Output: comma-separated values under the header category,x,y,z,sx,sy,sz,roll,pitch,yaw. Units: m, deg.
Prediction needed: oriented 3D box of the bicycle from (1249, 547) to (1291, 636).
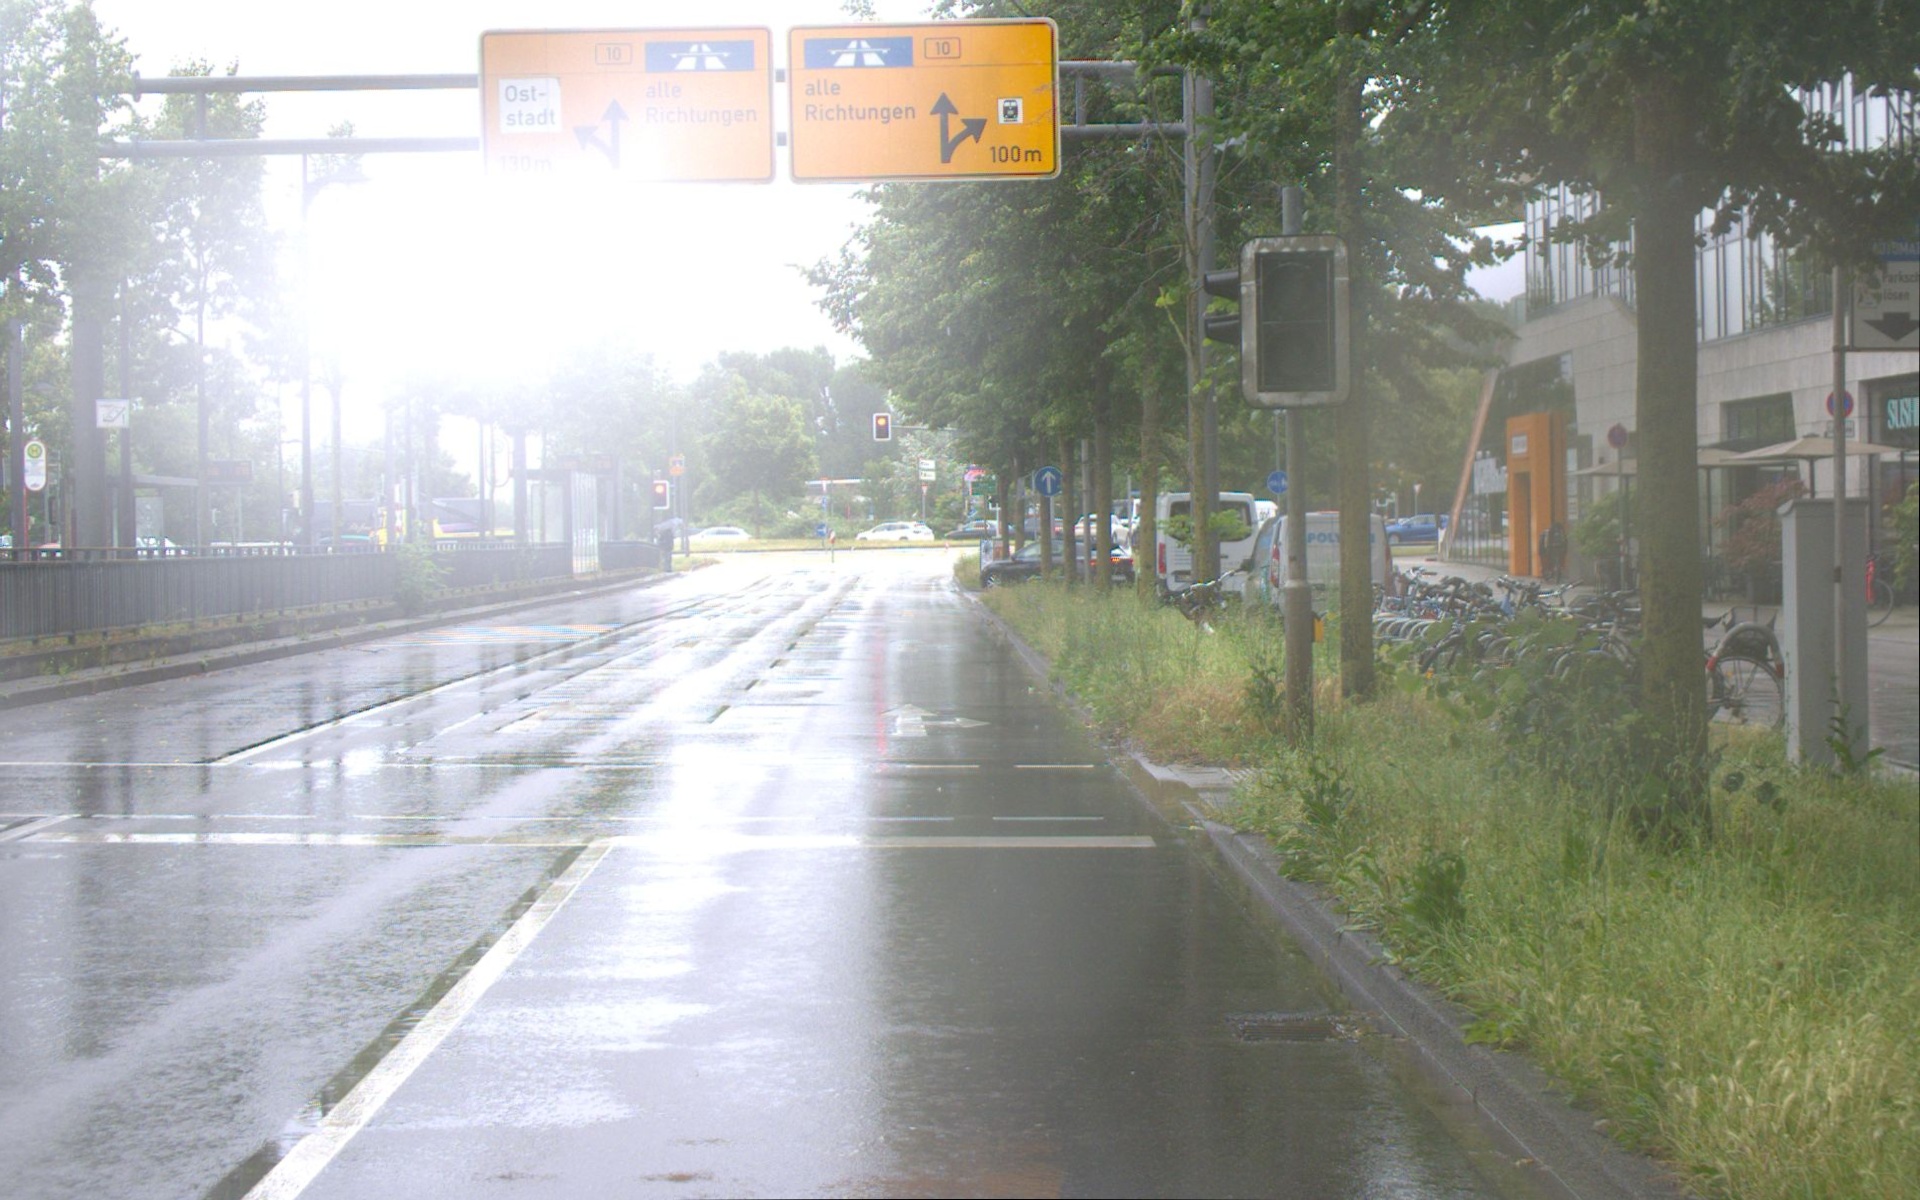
category,x,y,z,sx,sy,sz,roll,pitch,yaw
bicycle,3.045,-0.089,33.789,0.274,0.846,1.293,-1,1,-1

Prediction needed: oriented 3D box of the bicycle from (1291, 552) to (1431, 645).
category,x,y,z,sx,sy,sz,roll,pitch,yaw
bicycle,4.336,-0.023,37.219,1.460,0.976,0.311,-1,1,-1

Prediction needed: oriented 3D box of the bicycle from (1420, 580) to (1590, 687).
category,x,y,z,sx,sy,sz,roll,pitch,yaw
bicycle,4.705,0.283,29.703,1.410,0.894,0.275,-1,1,-3

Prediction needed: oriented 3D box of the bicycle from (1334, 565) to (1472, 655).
category,x,y,z,sx,sy,sz,roll,pitch,yaw
bicycle,4.318,0.092,33.553,1.288,0.846,0.355,-1,1,-1

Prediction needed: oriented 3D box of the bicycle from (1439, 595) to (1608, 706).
category,x,y,z,sx,sy,sz,roll,pitch,yaw
bicycle,4.430,0.395,27.043,1.289,0.846,0.275,-1,1,6

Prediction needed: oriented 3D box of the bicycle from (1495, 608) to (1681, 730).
category,x,y,z,sx,sy,sz,roll,pitch,yaw
bicycle,4.507,0.496,24.692,1.288,0.855,0.275,0,1,4

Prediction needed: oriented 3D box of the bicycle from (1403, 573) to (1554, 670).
category,x,y,z,sx,sy,sz,roll,pitch,yaw
bicycle,4.624,0.190,30.681,1.288,0.846,0.275,-1,1,-1

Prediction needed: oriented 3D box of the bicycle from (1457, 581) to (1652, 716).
category,x,y,z,sx,sy,sz,roll,pitch,yaw
bicycle,4.556,0.370,26.366,1.439,1.014,0.349,0,1,4

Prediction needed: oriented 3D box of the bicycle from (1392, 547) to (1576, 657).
category,x,y,z,sx,sy,sz,roll,pitch,yaw
bicycle,4.844,0.018,31.799,1.643,0.985,0.320,-1,1,-1

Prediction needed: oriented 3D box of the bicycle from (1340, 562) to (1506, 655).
category,x,y,z,sx,sy,sz,roll,pitch,yaw
bicycle,4.378,0.080,32.530,1.522,0.846,0.277,-1,1,-1

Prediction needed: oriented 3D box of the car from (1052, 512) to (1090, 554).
category,x,y,z,sx,sy,sz,roll,pitch,yaw
car,4.926,-2.962,152.186,1.623,1.694,3.456,-1,3,3

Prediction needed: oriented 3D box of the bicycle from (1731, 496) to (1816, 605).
category,x,y,z,sx,sy,sz,roll,pitch,yaw
bicycle,13.965,-0.878,59.111,0.644,1.716,3.121,-1,3,-1

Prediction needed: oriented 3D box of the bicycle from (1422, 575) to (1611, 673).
category,x,y,z,sx,sy,sz,roll,pitch,yaw
bicycle,4.910,0.207,30.346,1.614,0.846,0.275,1,1,-1

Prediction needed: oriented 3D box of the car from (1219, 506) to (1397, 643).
category,x,y,z,sx,sy,sz,roll,pitch,yaw
car,4.772,-0.395,47.736,1.906,1.785,4.688,-1,1,-1

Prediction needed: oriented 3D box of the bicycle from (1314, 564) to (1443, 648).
category,x,y,z,sx,sy,sz,roll,pitch,yaw
bicycle,4.334,0.058,35.618,1.288,0.846,0.275,-1,1,-1

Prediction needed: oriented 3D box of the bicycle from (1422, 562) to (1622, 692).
category,x,y,z,sx,sy,sz,roll,pitch,yaw
bicycle,4.699,0.221,28.782,1.612,1.050,0.297,-1,1,-3

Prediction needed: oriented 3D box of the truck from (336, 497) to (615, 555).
category,x,y,z,sx,sy,sz,roll,pitch,yaw
truck,-26.750,-4.056,190.230,14.855,3.136,3.524,0,1,-24

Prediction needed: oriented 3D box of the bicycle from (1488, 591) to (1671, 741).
category,x,y,z,sx,sy,sz,roll,pitch,yaw
bicycle,4.521,0.479,25.116,1.289,1.070,0.275,-1,1,8

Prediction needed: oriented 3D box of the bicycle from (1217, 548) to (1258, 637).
category,x,y,z,sx,sy,sz,roll,pitch,yaw
bicycle,2.721,-0.085,33.746,0.274,0.846,1.293,-1,1,-1

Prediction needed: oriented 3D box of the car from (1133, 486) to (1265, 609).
category,x,y,z,sx,sy,sz,roll,pitch,yaw
car,4.560,-1.033,66.234,2.121,2.266,4.565,-1,1,-1

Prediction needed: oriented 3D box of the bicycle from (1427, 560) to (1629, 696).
category,x,y,z,sx,sy,sz,roll,pitch,yaw
bicycle,4.710,0.229,28.519,1.612,1.093,0.297,-1,1,-3

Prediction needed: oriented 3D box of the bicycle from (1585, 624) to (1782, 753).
category,x,y,z,sx,sy,sz,roll,pitch,yaw
bicycle,4.878,0.598,23.205,1.289,0.846,0.275,-1,1,11

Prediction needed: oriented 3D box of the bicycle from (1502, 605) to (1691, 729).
category,x,y,z,sx,sy,sz,roll,pitch,yaw
bicycle,4.509,0.475,24.378,1.288,0.846,0.275,-1,1,4

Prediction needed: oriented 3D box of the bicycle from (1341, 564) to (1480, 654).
category,x,y,z,sx,sy,sz,roll,pitch,yaw
bicycle,4.350,0.088,33.198,1.288,0.846,0.275,-1,1,-1

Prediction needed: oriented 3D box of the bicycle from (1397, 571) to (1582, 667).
category,x,y,z,sx,sy,sz,roll,pitch,yaw
bicycle,4.777,0.171,31.016,1.614,0.846,0.275,1,1,-1

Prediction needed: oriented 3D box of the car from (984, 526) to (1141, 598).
category,x,y,z,sx,sy,sz,roll,pitch,yaw
car,2.461,-0.946,83.374,1.815,1.539,4.000,-3,4,-33

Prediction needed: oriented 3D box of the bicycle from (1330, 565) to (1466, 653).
category,x,y,z,sx,sy,sz,roll,pitch,yaw
bicycle,4.319,0.087,33.915,1.288,0.846,0.275,-1,1,-1

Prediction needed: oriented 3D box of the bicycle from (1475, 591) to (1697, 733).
category,x,y,z,sx,sy,sz,roll,pitch,yaw
bicycle,4.635,0.460,25.508,1.574,1.014,0.408,-1,1,6

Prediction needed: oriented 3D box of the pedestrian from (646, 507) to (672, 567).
category,x,y,z,sx,sy,sz,roll,pitch,yaw
pedestrian,-10.244,-2.151,117.116,0.698,2.006,0.655,0,3,12

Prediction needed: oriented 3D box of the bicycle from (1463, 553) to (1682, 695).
category,x,y,z,sx,sy,sz,roll,pitch,yaw
bicycle,4.906,0.189,27.536,1.706,1.099,0.283,-1,1,-7

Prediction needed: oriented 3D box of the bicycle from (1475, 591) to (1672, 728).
category,x,y,z,sx,sy,sz,roll,pitch,yaw
bicycle,4.624,0.447,25.968,1.439,1.014,0.349,0,1,6

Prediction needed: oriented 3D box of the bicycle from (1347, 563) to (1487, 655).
category,x,y,z,sx,sy,sz,roll,pitch,yaw
bicycle,4.363,0.084,32.834,1.288,0.846,0.275,-1,1,-1

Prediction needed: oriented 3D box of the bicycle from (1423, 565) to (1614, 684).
category,x,y,z,sx,sy,sz,roll,pitch,yaw
bicycle,4.880,0.209,30.039,1.614,1.019,0.275,1,1,-1

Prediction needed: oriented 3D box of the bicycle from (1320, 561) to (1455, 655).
category,x,y,z,sx,sy,sz,roll,pitch,yaw
bicycle,4.259,0.079,34.269,1.288,0.915,0.275,-1,1,-1

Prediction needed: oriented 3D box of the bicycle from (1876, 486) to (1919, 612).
category,x,y,z,sx,sy,sz,roll,pitch,yaw
bicycle,13.823,-0.723,48.958,0.644,1.716,3.121,-1,3,-1

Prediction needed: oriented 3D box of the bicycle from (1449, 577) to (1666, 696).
category,x,y,z,sx,sy,sz,roll,pitch,yaw
bicycle,4.840,0.298,27.846,1.705,0.945,0.313,0,1,-7

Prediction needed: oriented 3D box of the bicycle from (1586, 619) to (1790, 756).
category,x,y,z,sx,sy,sz,roll,pitch,yaw
bicycle,4.766,0.573,22.539,1.289,0.871,0.301,-1,1,11

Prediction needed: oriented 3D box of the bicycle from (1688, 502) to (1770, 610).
category,x,y,z,sx,sy,sz,roll,pitch,yaw
bicycle,13.215,-0.779,59.141,0.644,1.716,3.121,-1,3,-1

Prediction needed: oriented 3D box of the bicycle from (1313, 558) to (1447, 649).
category,x,y,z,sx,sy,sz,roll,pitch,yaw
bicycle,4.302,0.033,35.268,1.325,0.907,0.275,-1,1,-1

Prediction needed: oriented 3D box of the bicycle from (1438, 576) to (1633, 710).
category,x,y,z,sx,sy,sz,roll,pitch,yaw
bicycle,4.469,0.334,26.731,1.452,1.014,0.349,-1,1,4

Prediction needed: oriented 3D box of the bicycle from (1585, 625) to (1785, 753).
category,x,y,z,sx,sy,sz,roll,pitch,yaw
bicycle,4.827,0.592,22.917,1.289,0.829,0.275,-1,1,11

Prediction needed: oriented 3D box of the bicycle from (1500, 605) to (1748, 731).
category,x,y,z,sx,sy,sz,roll,pitch,yaw
bicycle,4.638,0.472,24.042,1.672,0.846,0.275,-1,1,4

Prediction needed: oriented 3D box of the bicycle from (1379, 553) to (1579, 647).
category,x,y,z,sx,sy,sz,roll,pitch,yaw
bicycle,4.848,0.001,32.114,1.816,0.846,0.275,-1,1,-1

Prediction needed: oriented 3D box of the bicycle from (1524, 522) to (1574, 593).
category,x,y,z,sx,sy,sz,roll,pitch,yaw
bicycle,13.846,-1.009,80.835,0.666,1.529,2.765,-1,3,-1
